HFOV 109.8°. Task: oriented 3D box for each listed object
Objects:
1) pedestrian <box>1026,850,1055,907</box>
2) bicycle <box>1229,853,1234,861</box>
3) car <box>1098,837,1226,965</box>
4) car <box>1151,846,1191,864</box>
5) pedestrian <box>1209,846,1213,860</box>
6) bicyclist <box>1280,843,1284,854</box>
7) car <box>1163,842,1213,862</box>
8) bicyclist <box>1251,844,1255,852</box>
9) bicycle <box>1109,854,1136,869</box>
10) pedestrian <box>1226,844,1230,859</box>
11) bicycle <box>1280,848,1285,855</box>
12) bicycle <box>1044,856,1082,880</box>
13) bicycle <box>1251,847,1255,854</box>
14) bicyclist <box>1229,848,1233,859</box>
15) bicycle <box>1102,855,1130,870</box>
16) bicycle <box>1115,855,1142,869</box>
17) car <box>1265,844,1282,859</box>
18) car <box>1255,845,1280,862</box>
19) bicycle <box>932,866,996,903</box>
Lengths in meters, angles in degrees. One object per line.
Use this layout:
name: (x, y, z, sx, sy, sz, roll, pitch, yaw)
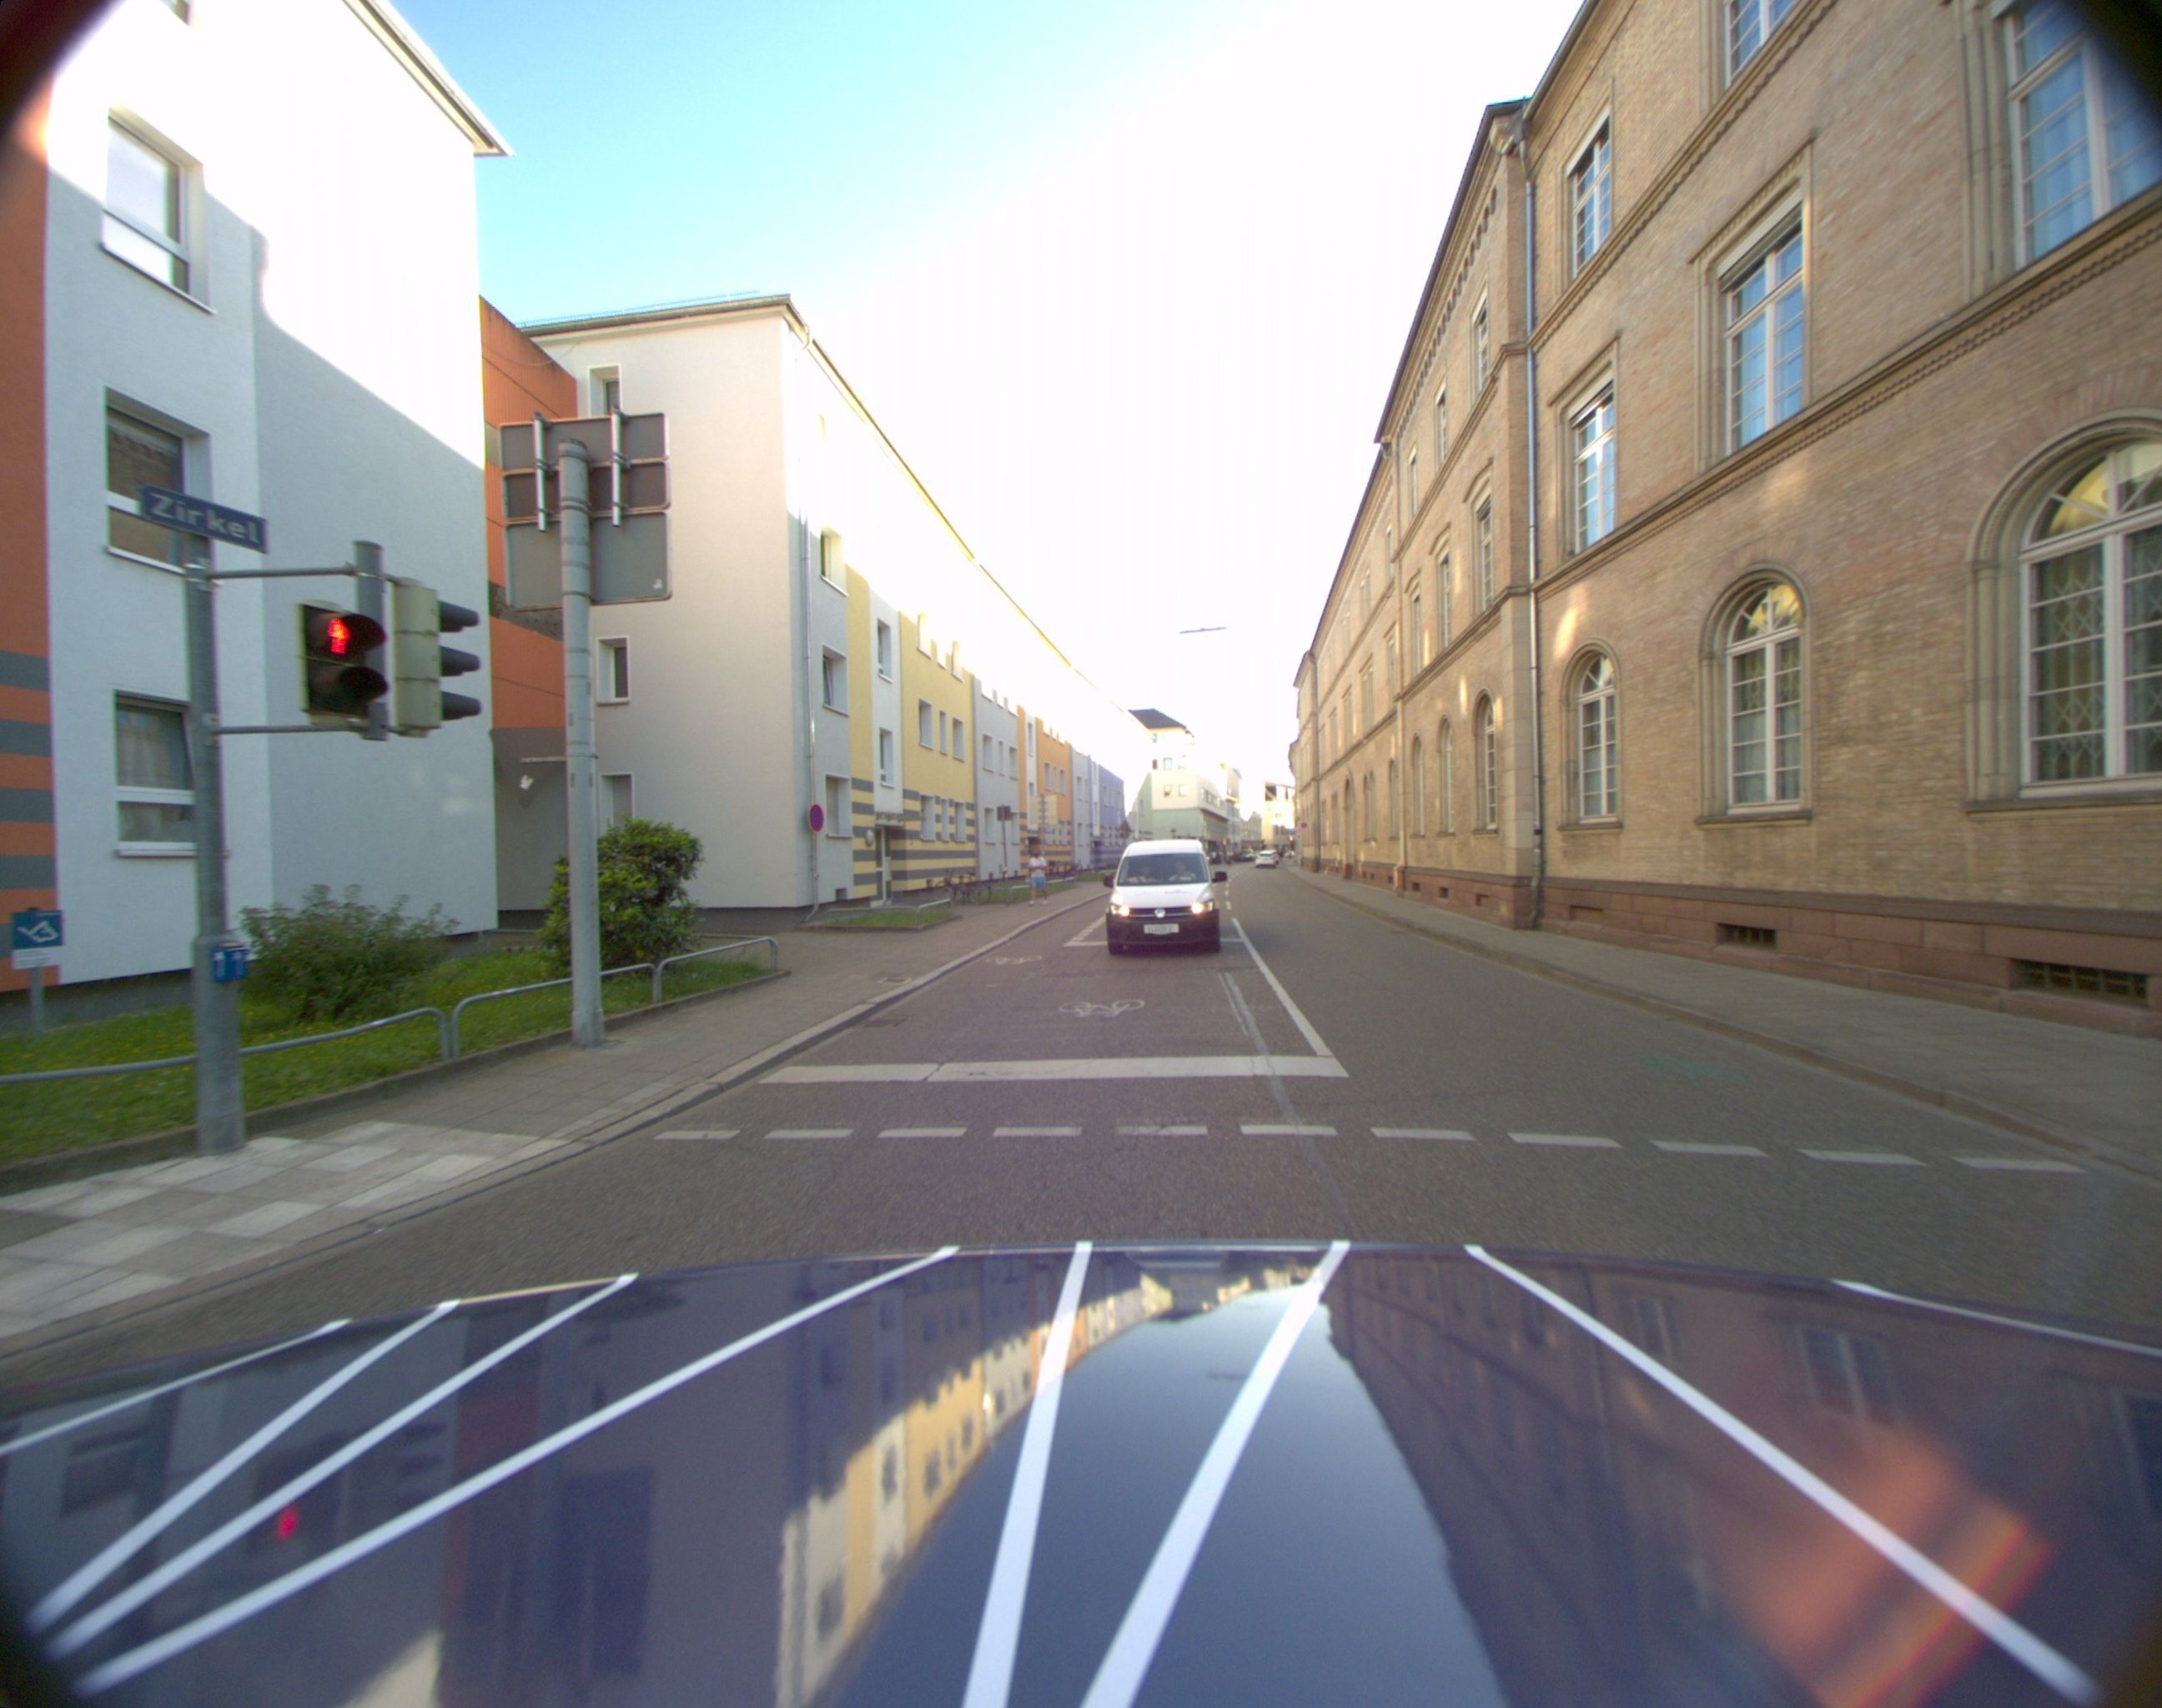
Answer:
pedestrian: (-1.198, 0.713, 22.497, 0.643, 1.662, 0.835, 0, 1, 11)
bicycle: (15.318, 0.298, 77.397, 0.348, 0.719, 1.118, -1, 1, 6)
car: (1.591, 0.665, 13.676, 1.818, 1.826, 5.344, -1, 1, 9)
car: (9.699, 0.107, 81.869, 3.993, 1.682, 1.902, -3, 1, 13)
pedestrian: (14.815, -0.092, 86.659, 0.371, 1.547, 0.404, -1, 1, 18)
bicyclist: (28.338, -0.757, 107.090, 0.604, 1.434, 0.579, -1, 1, 13)
car: (10.926, -0.222, 77.785, 4.759, 1.927, 2.002, -1, 1, 17)
bicyclist: (27.317, -0.905, 120.923, 0.548, 1.204, 0.584, -1, 1, 14)
bicycle: (2.832, 0.513, 52.268, 1.774, 0.990, 0.584, 1, 2, 16)
pedestrian: (17.084, -0.264, 88.299, 0.508, 1.752, 0.412, -1, 1, 13)
bicycle: (28.356, -0.319, 107.087, 0.608, 0.922, 2.266, -1, 1, 13)
bicycle: (-0.861, 0.662, 36.532, 1.775, 1.118, 0.584, 0, 2, 7)
bicycle: (27.330, -0.507, 120.939, 0.548, 1.076, 1.965, -1, 1, 14)
bicyclist: (15.309, -0.091, 77.394, 0.348, 1.101, 0.368, -1, 1, 6)
bicycle: (2.361, 0.545, 50.980, 1.774, 0.990, 0.584, 1, 2, 16)
bicycle: (3.308, 0.536, 52.820, 1.774, 0.934, 0.584, 1, 2, 16)
car: (20.864, -0.270, 82.378, 1.687, 1.573, 4.279, 1, 1, 15)
car: (17.076, -0.050, 69.486, 1.889, 1.467, 4.550, 1, 1, 17)
bicycle: (-3.440, 0.888, 22.419, 1.776, 1.043, 0.584, 0, 2, 4)
